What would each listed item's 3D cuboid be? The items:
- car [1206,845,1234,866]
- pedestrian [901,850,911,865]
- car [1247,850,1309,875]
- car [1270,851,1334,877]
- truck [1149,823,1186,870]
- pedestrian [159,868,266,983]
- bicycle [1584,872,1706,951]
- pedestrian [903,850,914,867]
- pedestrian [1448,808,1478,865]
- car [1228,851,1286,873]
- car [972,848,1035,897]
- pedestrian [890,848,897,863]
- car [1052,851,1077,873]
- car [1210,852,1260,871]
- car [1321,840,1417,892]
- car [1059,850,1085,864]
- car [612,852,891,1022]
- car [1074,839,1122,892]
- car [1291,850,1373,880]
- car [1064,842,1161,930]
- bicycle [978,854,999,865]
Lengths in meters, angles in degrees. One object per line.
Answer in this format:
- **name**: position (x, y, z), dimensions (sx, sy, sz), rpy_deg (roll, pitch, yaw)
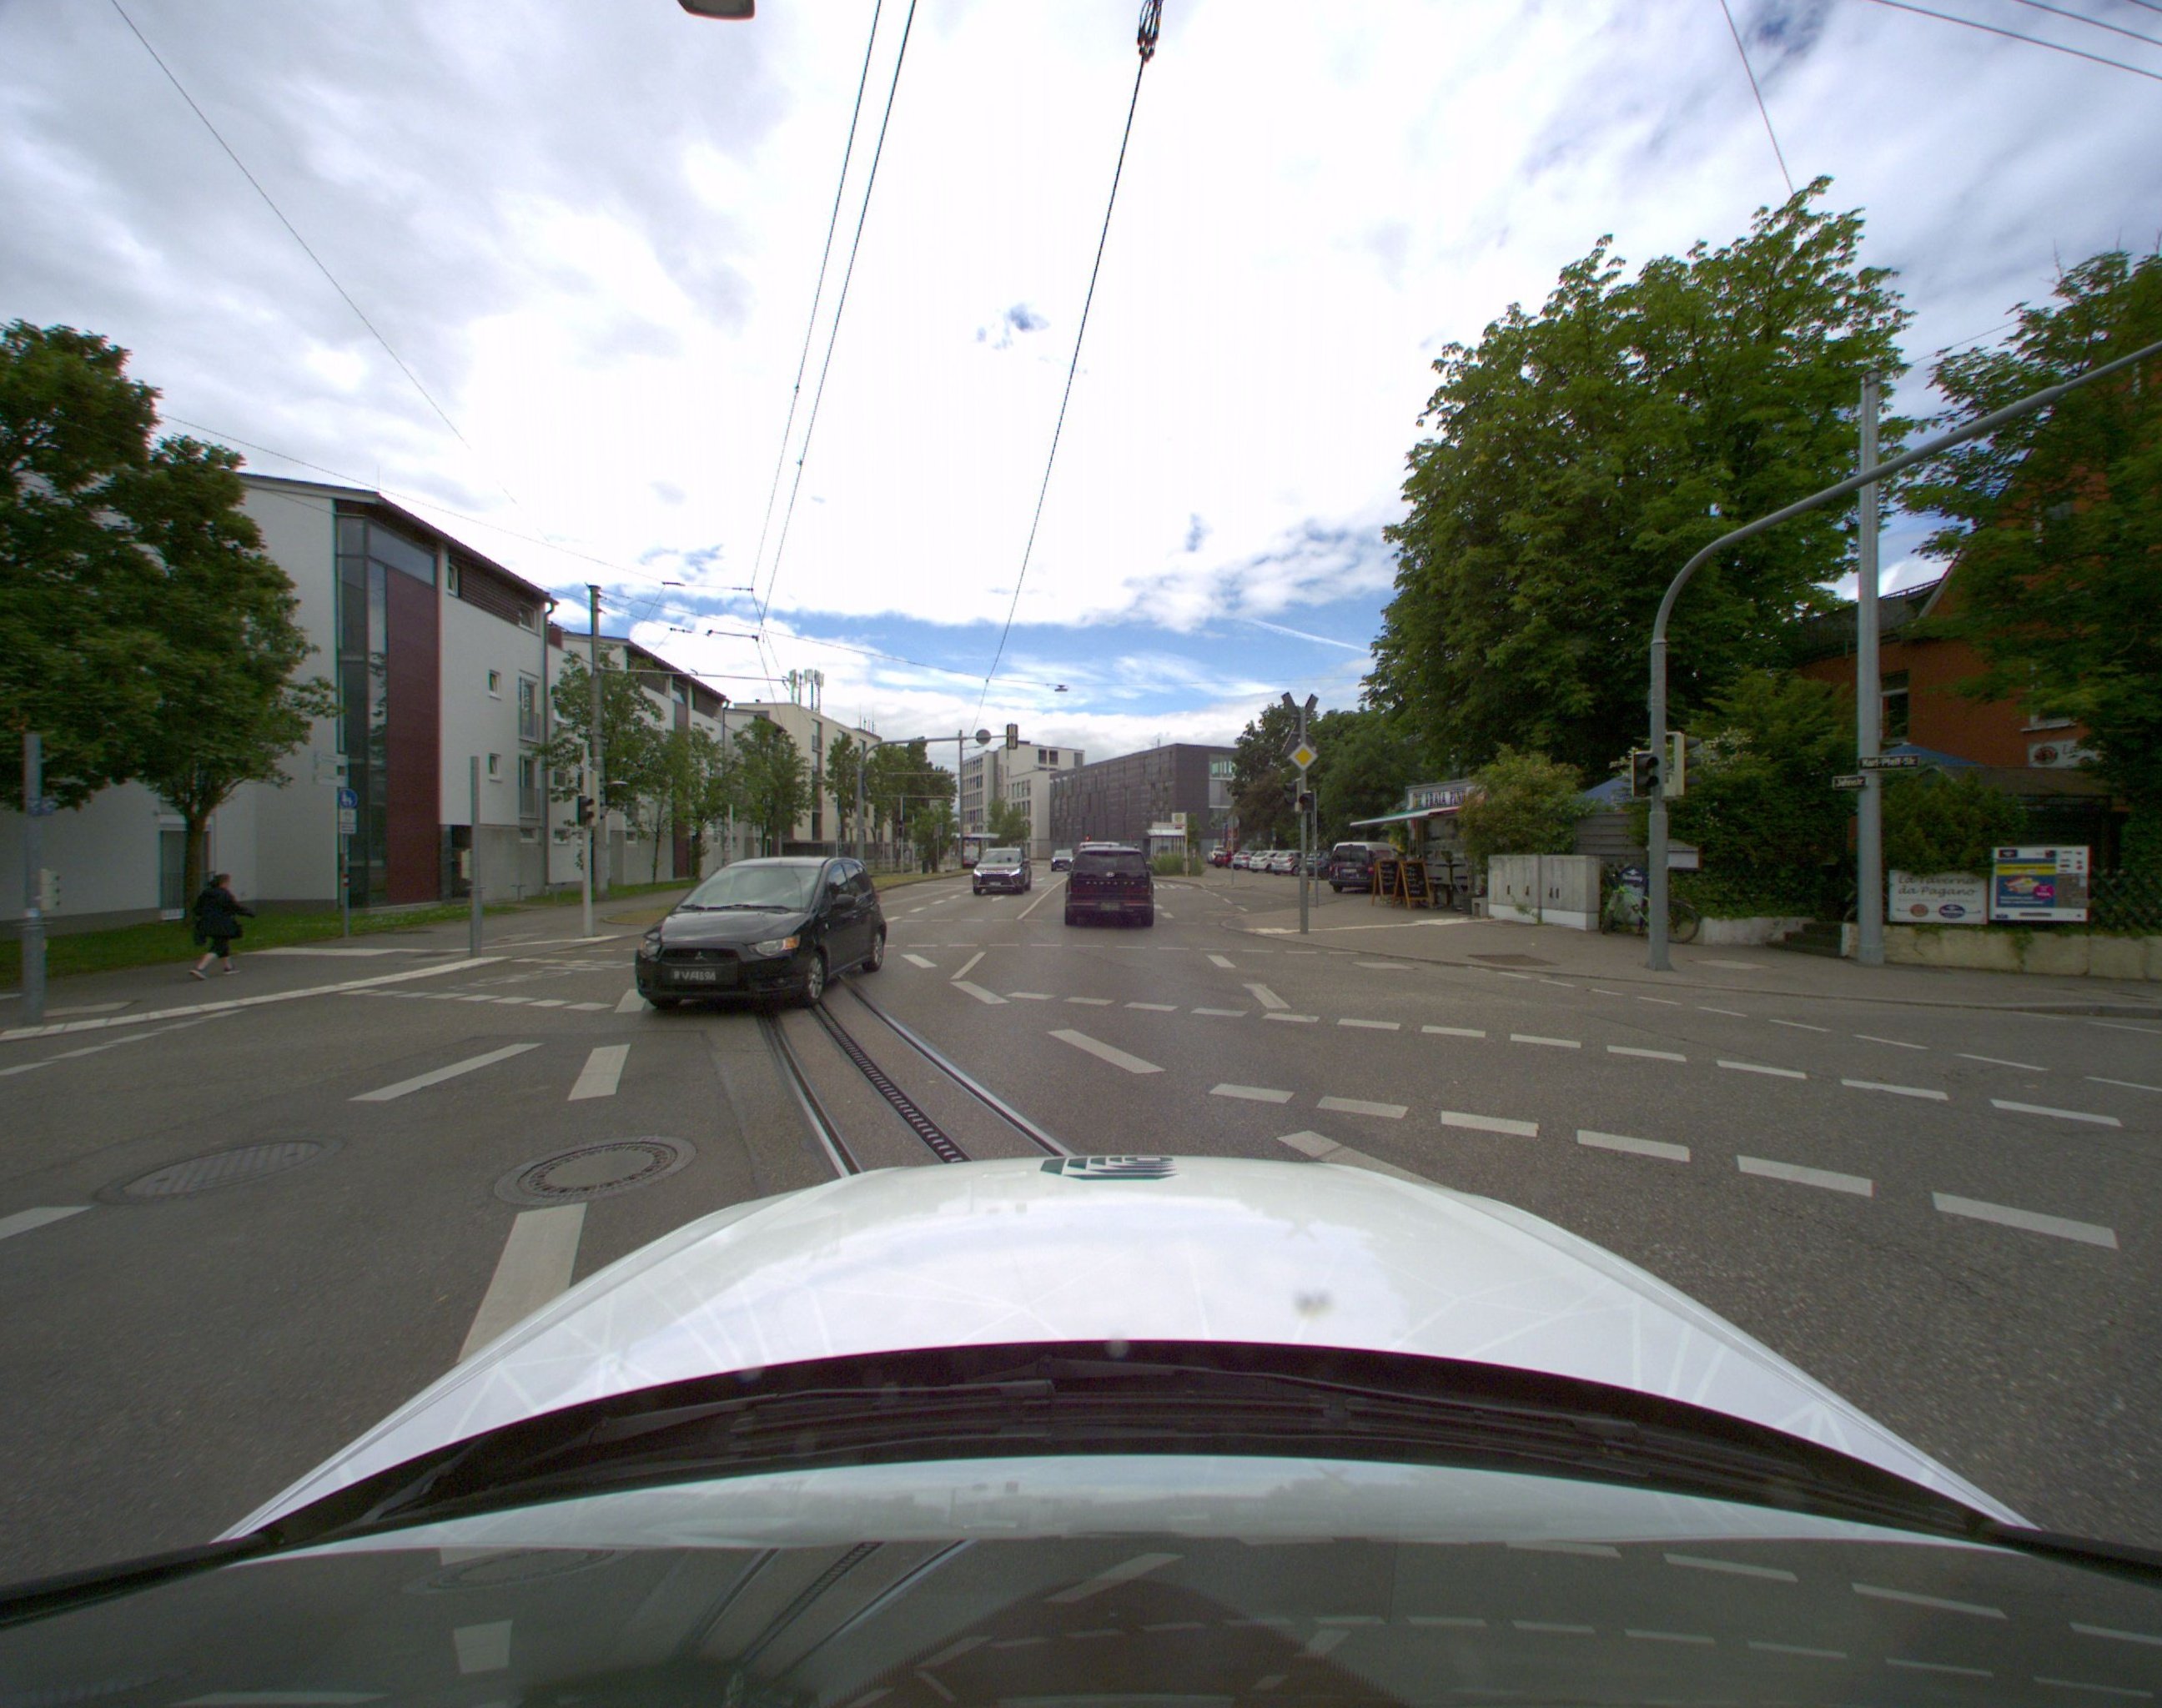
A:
- **car**: position (13.295, 0.157, 78.077), dimensions (1.986, 1.838, 4.519), rpy_deg (-2, -1, 2)
- **pedestrian**: position (-19.879, 0.430, 92.553), dimensions (0.916, 1.719, 0.906), rpy_deg (0, 0, 1)
- **car**: position (12.602, 0.537, 52.200), dimensions (3.657, 1.435, 1.578), rpy_deg (-2, -1, -26)
- **car**: position (12.821, 0.550, 47.157), dimensions (3.526, 1.378, 1.533), rpy_deg (-1, 2, -29)
- **truck**: position (6.746, -0.573, 64.634), dimensions (2.562, 3.525, 7.818), rpy_deg (0, 0, 4)
- **pedestrian**: position (-13.389, 1.076, 12.582), dimensions (0.673, 1.644, 0.818), rpy_deg (-2, 2, -4)
- **bicycle**: position (9.788, 0.951, 14.231), dimensions (0.548, 1.138, 1.872), rpy_deg (0, 3, -10)
- **pedestrian**: position (-17.904, 0.452, 84.533), dimensions (0.916, 1.719, 0.906), rpy_deg (0, 0, 1)
- **pedestrian**: position (11.957, -0.560, 25.516), dimensions (0.680, 1.759, 0.679), rpy_deg (-1, 2, 8)
- **car**: position (12.577, 0.584, 58.232), dimensions (3.813, 1.474, 1.782), rpy_deg (2, -1, -29)
- **car**: position (-2.813, 0.640, 30.363), dimensions (1.781, 1.661, 4.278), rpy_deg (-1, 0, 2)
- **pedestrian**: position (-21.219, 0.150, 92.112), dimensions (0.611, 1.694, 0.785), rpy_deg (1, -1, 1)
- **car**: position (-1.246, 0.610, 62.505), dimensions (1.733, 1.559, 4.184), rpy_deg (-1, 0, 1)
- **car**: position (11.972, 0.588, 63.419), dimensions (3.510, 1.455, 1.666), rpy_deg (1, -1, -26)
- **car**: position (10.709, 0.386, 30.070), dimensions (1.827, 1.748, 4.725), rpy_deg (0, 1, 39)
- **car**: position (-1.185, 0.368, 104.583), dimensions (1.855, 1.677, 4.343), rpy_deg (-1, 0, -22)
- **car**: position (-3.494, 0.771, 9.434), dimensions (1.669, 1.505, 3.732), rpy_deg (-2, 0, 0)
- **car**: position (0.649, 0.409, 33.612), dimensions (1.849, 2.033, 4.436), rpy_deg (0, 0, 0)
- **car**: position (12.990, 0.538, 42.097), dimensions (4.012, 1.477, 1.862), rpy_deg (0, 0, -30)
- **car**: position (0.629, 0.636, 18.466), dimensions (1.909, 1.725, 4.169), rpy_deg (1, 0, 0)
- **bicycle**: position (-9.647, 0.574, 84.903), dimensions (2.090, 1.106, 0.632), rpy_deg (1, 0, 3)
